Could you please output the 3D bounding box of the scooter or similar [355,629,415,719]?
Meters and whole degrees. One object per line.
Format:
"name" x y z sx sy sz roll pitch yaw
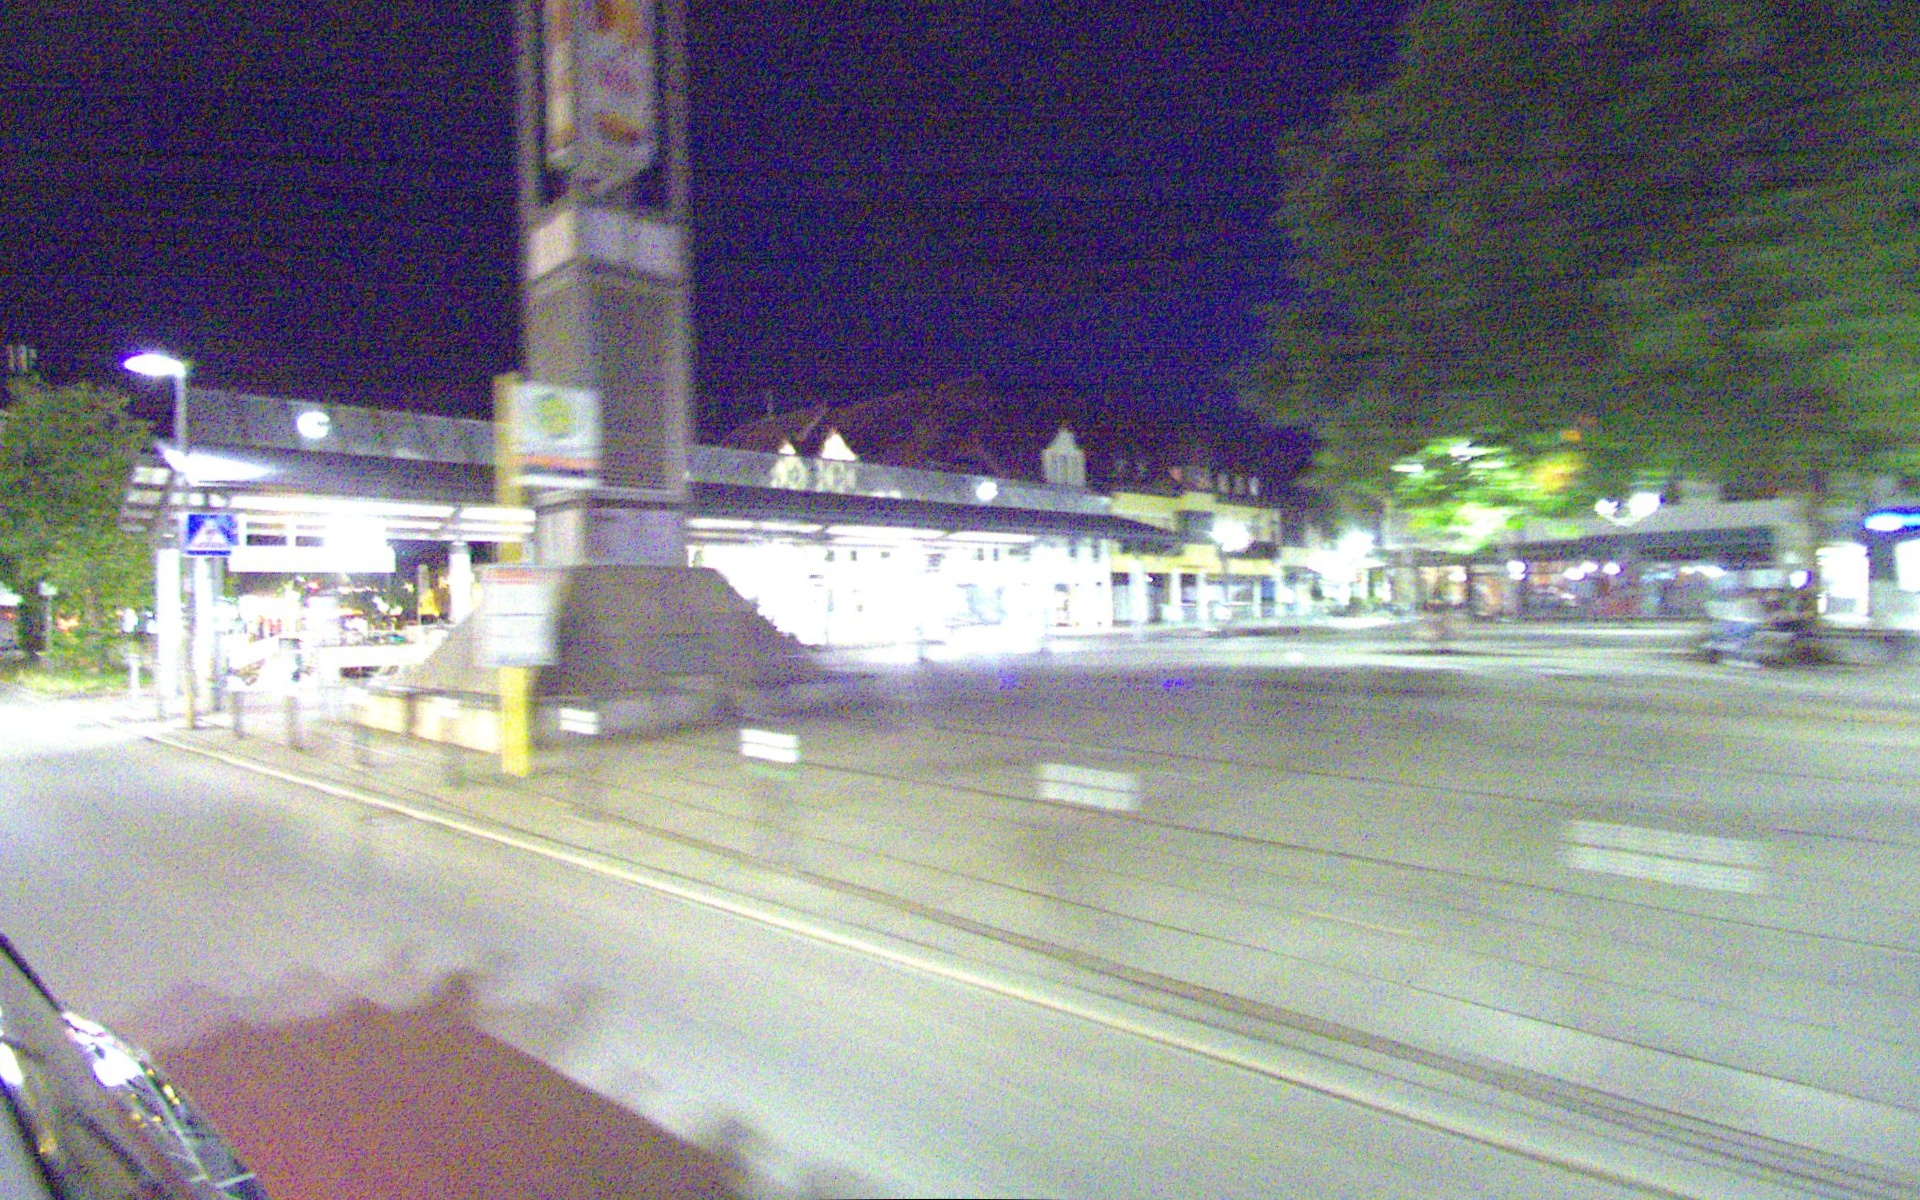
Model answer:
"scooter or similar" -8.658 1.098 15.215 1.448 1.298 0.313 -3 -1 42

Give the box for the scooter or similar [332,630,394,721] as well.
"scooter or similar" -8.851 1.105 14.986 1.448 1.273 0.365 -3 -1 43

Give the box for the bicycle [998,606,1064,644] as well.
"bicycle" 2.631 0.898 37.832 2.509 1.374 0.765 0 -1 40
